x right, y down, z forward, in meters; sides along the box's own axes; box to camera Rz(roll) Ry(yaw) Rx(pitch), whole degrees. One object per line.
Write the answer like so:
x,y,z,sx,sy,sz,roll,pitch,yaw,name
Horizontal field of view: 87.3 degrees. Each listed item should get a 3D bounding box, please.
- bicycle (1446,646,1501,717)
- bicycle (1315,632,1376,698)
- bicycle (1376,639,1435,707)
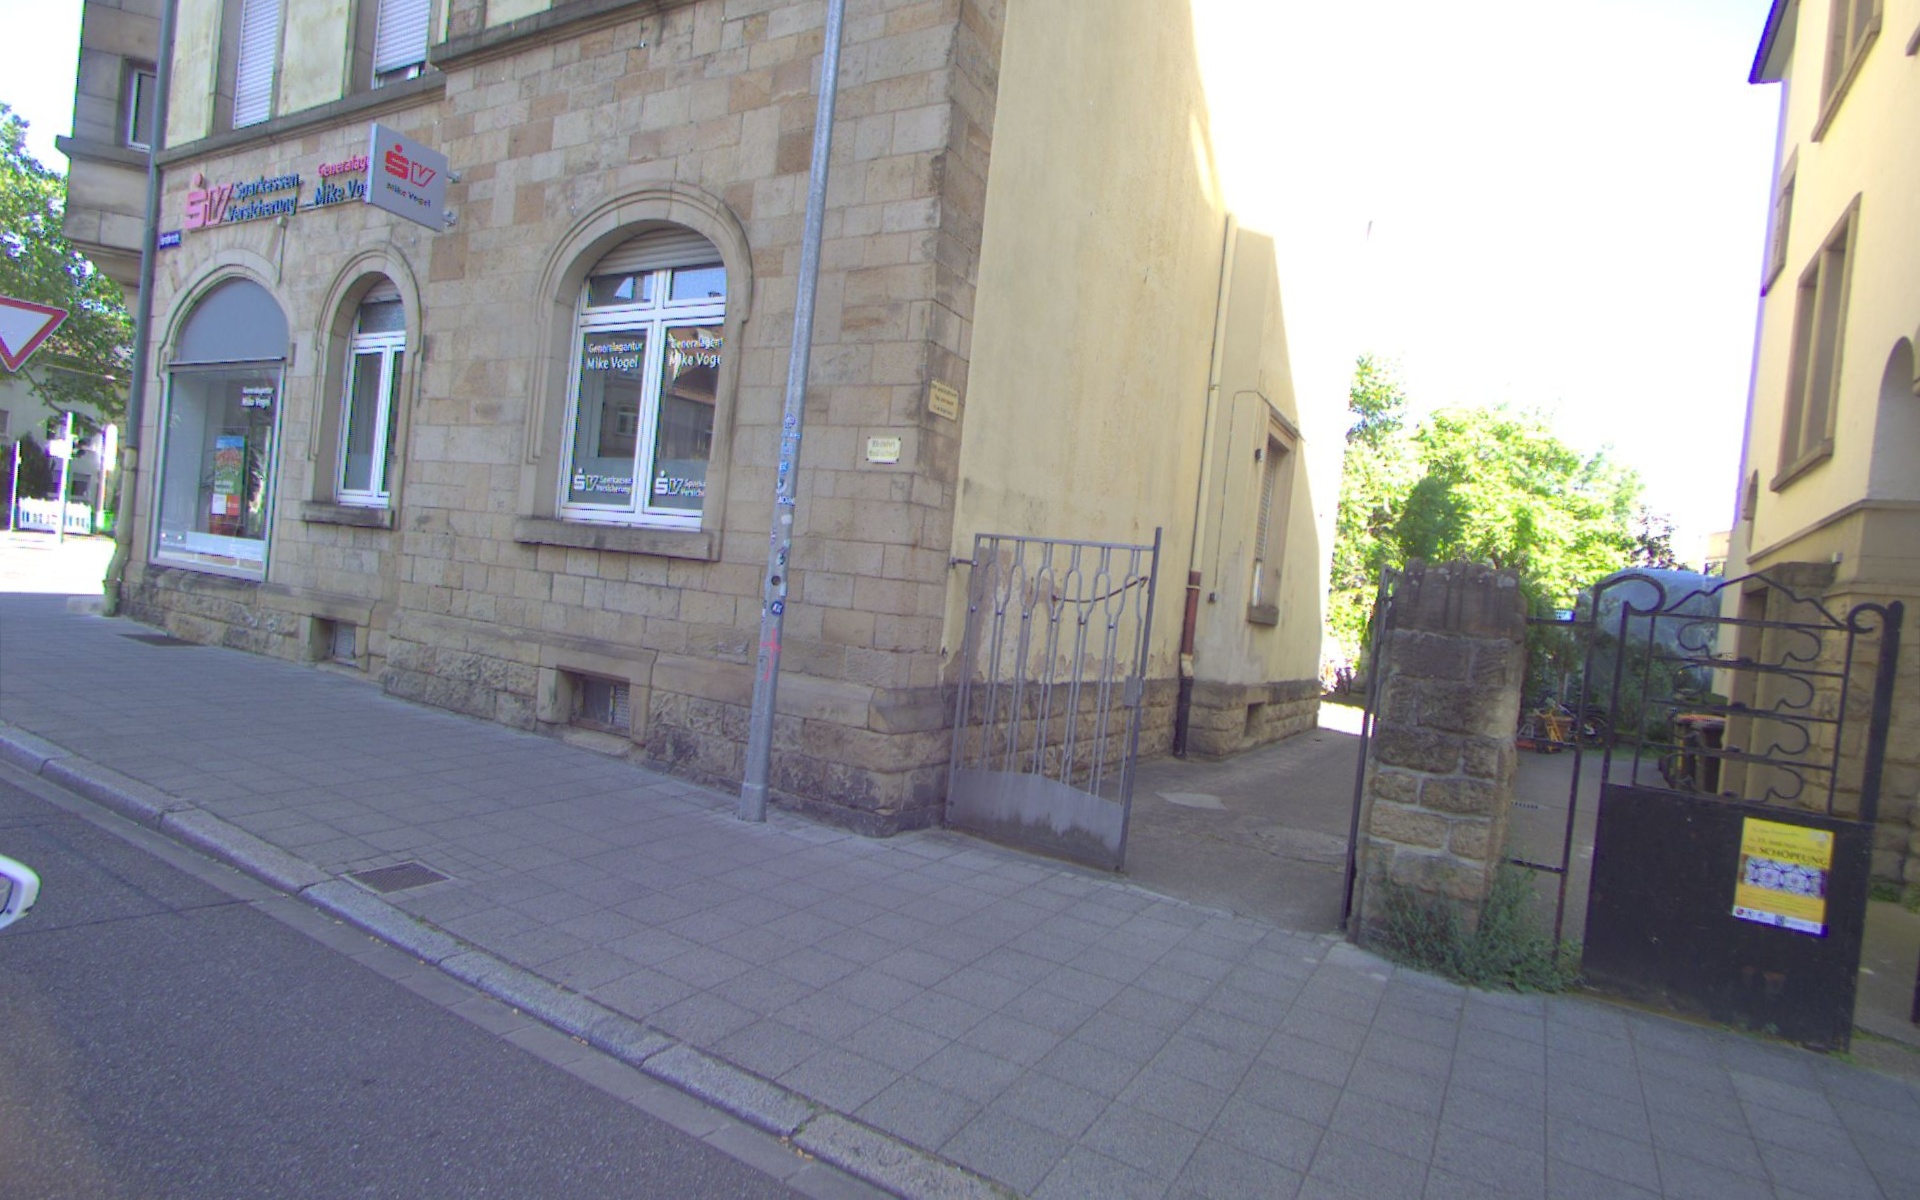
12.600,1.941,24.637,0.904,1.532,2.667,6,2,31,bicycle
9.981,1.647,25.967,0.904,1.532,2.667,6,2,31,bicycle
11.214,1.782,25.250,0.904,1.532,2.667,6,2,31,bicycle
